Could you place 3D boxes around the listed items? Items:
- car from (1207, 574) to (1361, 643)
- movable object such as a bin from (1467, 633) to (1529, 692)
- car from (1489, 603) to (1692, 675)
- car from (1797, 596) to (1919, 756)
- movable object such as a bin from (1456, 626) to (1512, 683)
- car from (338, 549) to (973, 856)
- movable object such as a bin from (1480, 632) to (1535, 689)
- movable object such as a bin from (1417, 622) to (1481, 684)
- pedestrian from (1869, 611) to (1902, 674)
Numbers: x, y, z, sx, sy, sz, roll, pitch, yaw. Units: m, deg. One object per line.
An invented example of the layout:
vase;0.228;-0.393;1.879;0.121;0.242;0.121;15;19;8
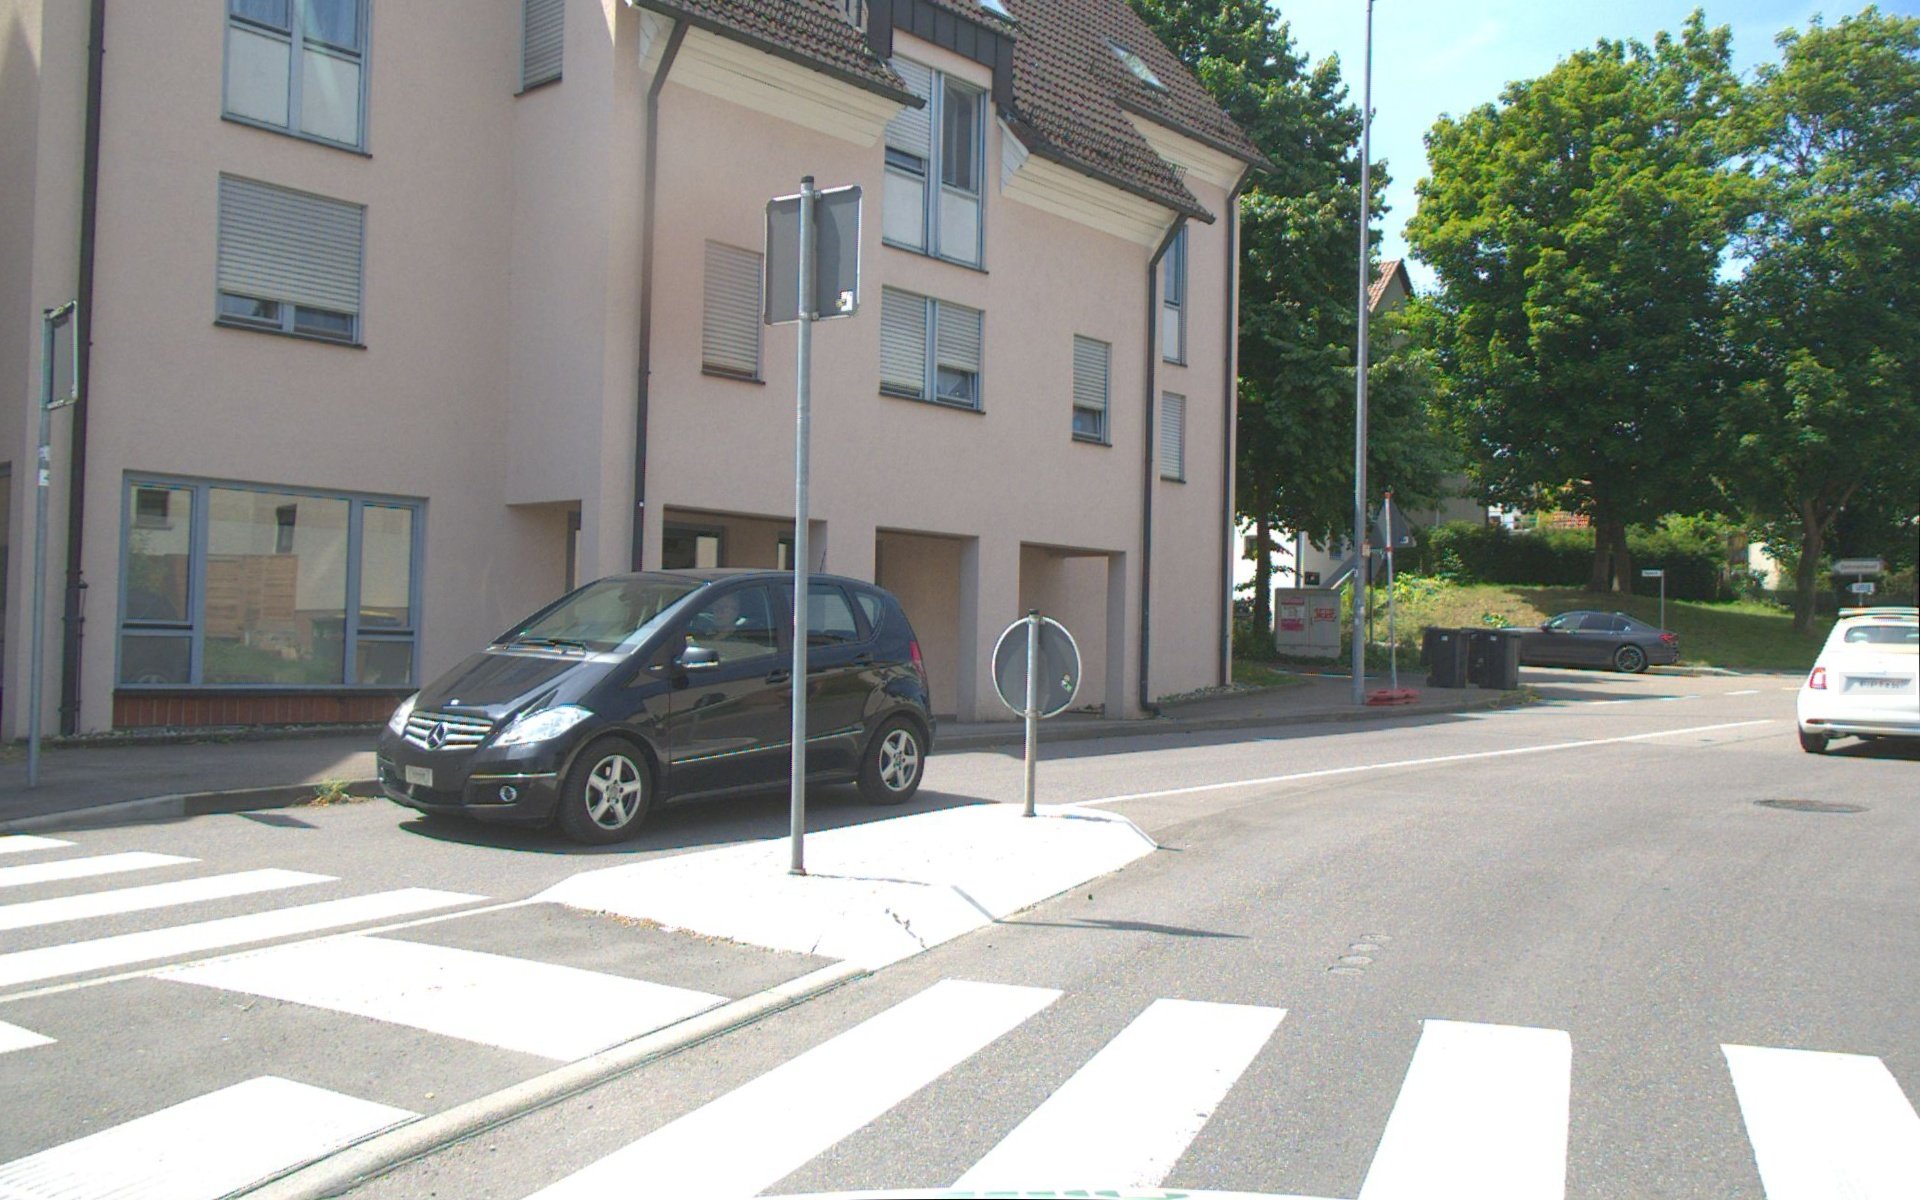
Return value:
car;9.219;0.204;47.279;1.892;1.713;3.941;0;3;-41
movable object such as a bin;9.573;1.101;29.430;0.688;1.018;0.841;1;-1;-43
car;16.233;0.968;42.590;4.683;1.505;1.998;3;1;26
car;10.587;0.771;18.130;1.698;1.587;3.979;0;-1;40
movable object such as a bin;9.987;1.034;31.502;0.604;1.017;0.762;3;1;-43
car;-1.783;0.552;10.767;1.724;1.612;3.927;1;0;38
movable object such as a bin;10.562;1.163;31.930;0.604;1.017;0.762;3;1;-42
movable object such as a bin;8.674;0.926;29.349;0.798;1.017;0.790;-1;3;-43
pedestrian;24.502;1.120;43.796;0.716;1.645;0.628;1;-1;28
